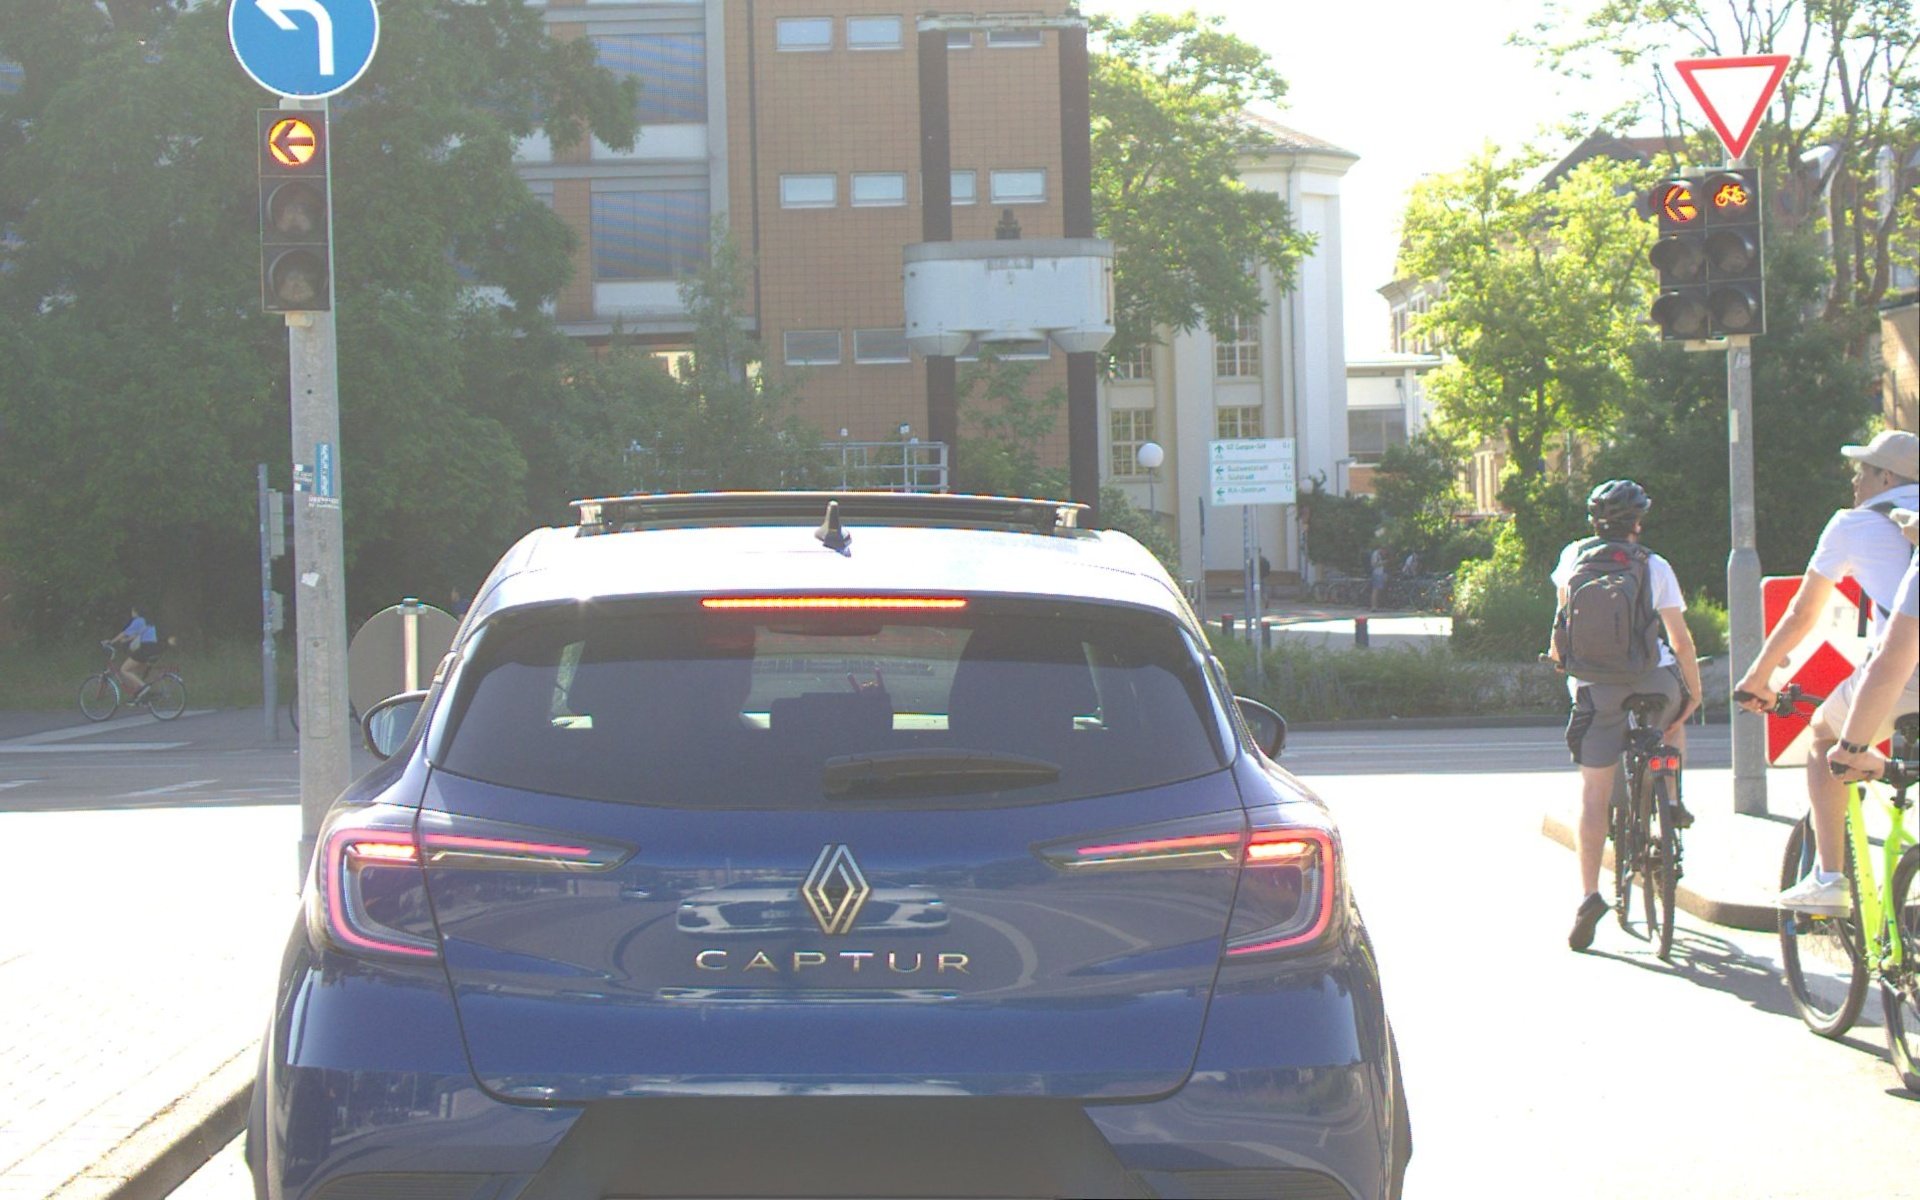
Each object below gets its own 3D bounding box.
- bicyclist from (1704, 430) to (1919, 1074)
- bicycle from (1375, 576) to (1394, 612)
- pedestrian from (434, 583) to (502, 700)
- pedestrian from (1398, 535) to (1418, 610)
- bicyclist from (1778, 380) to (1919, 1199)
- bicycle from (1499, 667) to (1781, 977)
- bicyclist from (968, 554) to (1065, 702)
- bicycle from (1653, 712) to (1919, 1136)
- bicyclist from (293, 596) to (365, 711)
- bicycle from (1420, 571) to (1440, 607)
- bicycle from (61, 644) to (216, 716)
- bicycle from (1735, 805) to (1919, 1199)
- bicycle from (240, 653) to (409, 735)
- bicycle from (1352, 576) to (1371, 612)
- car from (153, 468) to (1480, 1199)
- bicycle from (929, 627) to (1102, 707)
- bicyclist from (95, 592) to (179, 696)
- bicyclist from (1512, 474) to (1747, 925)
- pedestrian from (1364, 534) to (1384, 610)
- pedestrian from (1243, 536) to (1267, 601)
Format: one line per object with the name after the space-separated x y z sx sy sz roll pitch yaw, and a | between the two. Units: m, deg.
2.618 0.408 9.806 0.645 1.733 1.067 1 0 -6 | bicyclist
11.604 -0.168 94.034 0.405 0.969 1.683 1 1 4 | bicycle
-6.833 0.579 47.737 0.737 1.598 0.598 -1 1 12 | pedestrian
12.029 -0.750 92.391 0.475 2.007 0.468 -1 1 6 | pedestrian
2.228 0.401 7.241 0.751 1.663 1.016 1 0 1 | bicyclist
2.506 0.783 12.897 0.739 0.992 2.173 1 1 3 | bicycle
0.724 0.352 43.823 1.102 1.861 0.652 -1 1 10 | bicyclist
2.608 0.867 9.818 0.659 0.999 1.970 1 1 -6 | bicycle
-8.040 0.675 43.783 0.737 1.436 0.598 -2 1 -27 | bicyclist
12.907 -0.298 94.413 0.405 0.969 1.683 1 1 4 | bicycle
-11.476 1.117 48.030 2.078 0.961 0.598 -1 1 18 | bicycle
2.224 0.954 7.253 0.740 0.893 1.978 1 1 1 | bicycle
-8.087 1.189 43.765 2.005 0.961 0.598 -2 1 -27 | bicycle
10.982 -0.178 94.077 0.405 0.969 1.683 1 1 4 | bicycle
-0.272 0.615 6.692 1.803 1.626 4.000 0 1 -2 | car
0.713 0.849 43.696 2.082 0.927 0.696 -2 2 11 | bicycle
-11.490 0.615 48.027 0.937 1.424 0.598 -1 1 18 | bicyclist
2.503 0.356 12.942 0.726 1.623 0.969 1 0 4 | bicyclist
10.972 -0.751 91.040 0.475 2.007 0.523 -1 1 6 | pedestrian
8.497 -0.912 98.981 0.623 1.849 0.563 -1 1 0 | pedestrian
